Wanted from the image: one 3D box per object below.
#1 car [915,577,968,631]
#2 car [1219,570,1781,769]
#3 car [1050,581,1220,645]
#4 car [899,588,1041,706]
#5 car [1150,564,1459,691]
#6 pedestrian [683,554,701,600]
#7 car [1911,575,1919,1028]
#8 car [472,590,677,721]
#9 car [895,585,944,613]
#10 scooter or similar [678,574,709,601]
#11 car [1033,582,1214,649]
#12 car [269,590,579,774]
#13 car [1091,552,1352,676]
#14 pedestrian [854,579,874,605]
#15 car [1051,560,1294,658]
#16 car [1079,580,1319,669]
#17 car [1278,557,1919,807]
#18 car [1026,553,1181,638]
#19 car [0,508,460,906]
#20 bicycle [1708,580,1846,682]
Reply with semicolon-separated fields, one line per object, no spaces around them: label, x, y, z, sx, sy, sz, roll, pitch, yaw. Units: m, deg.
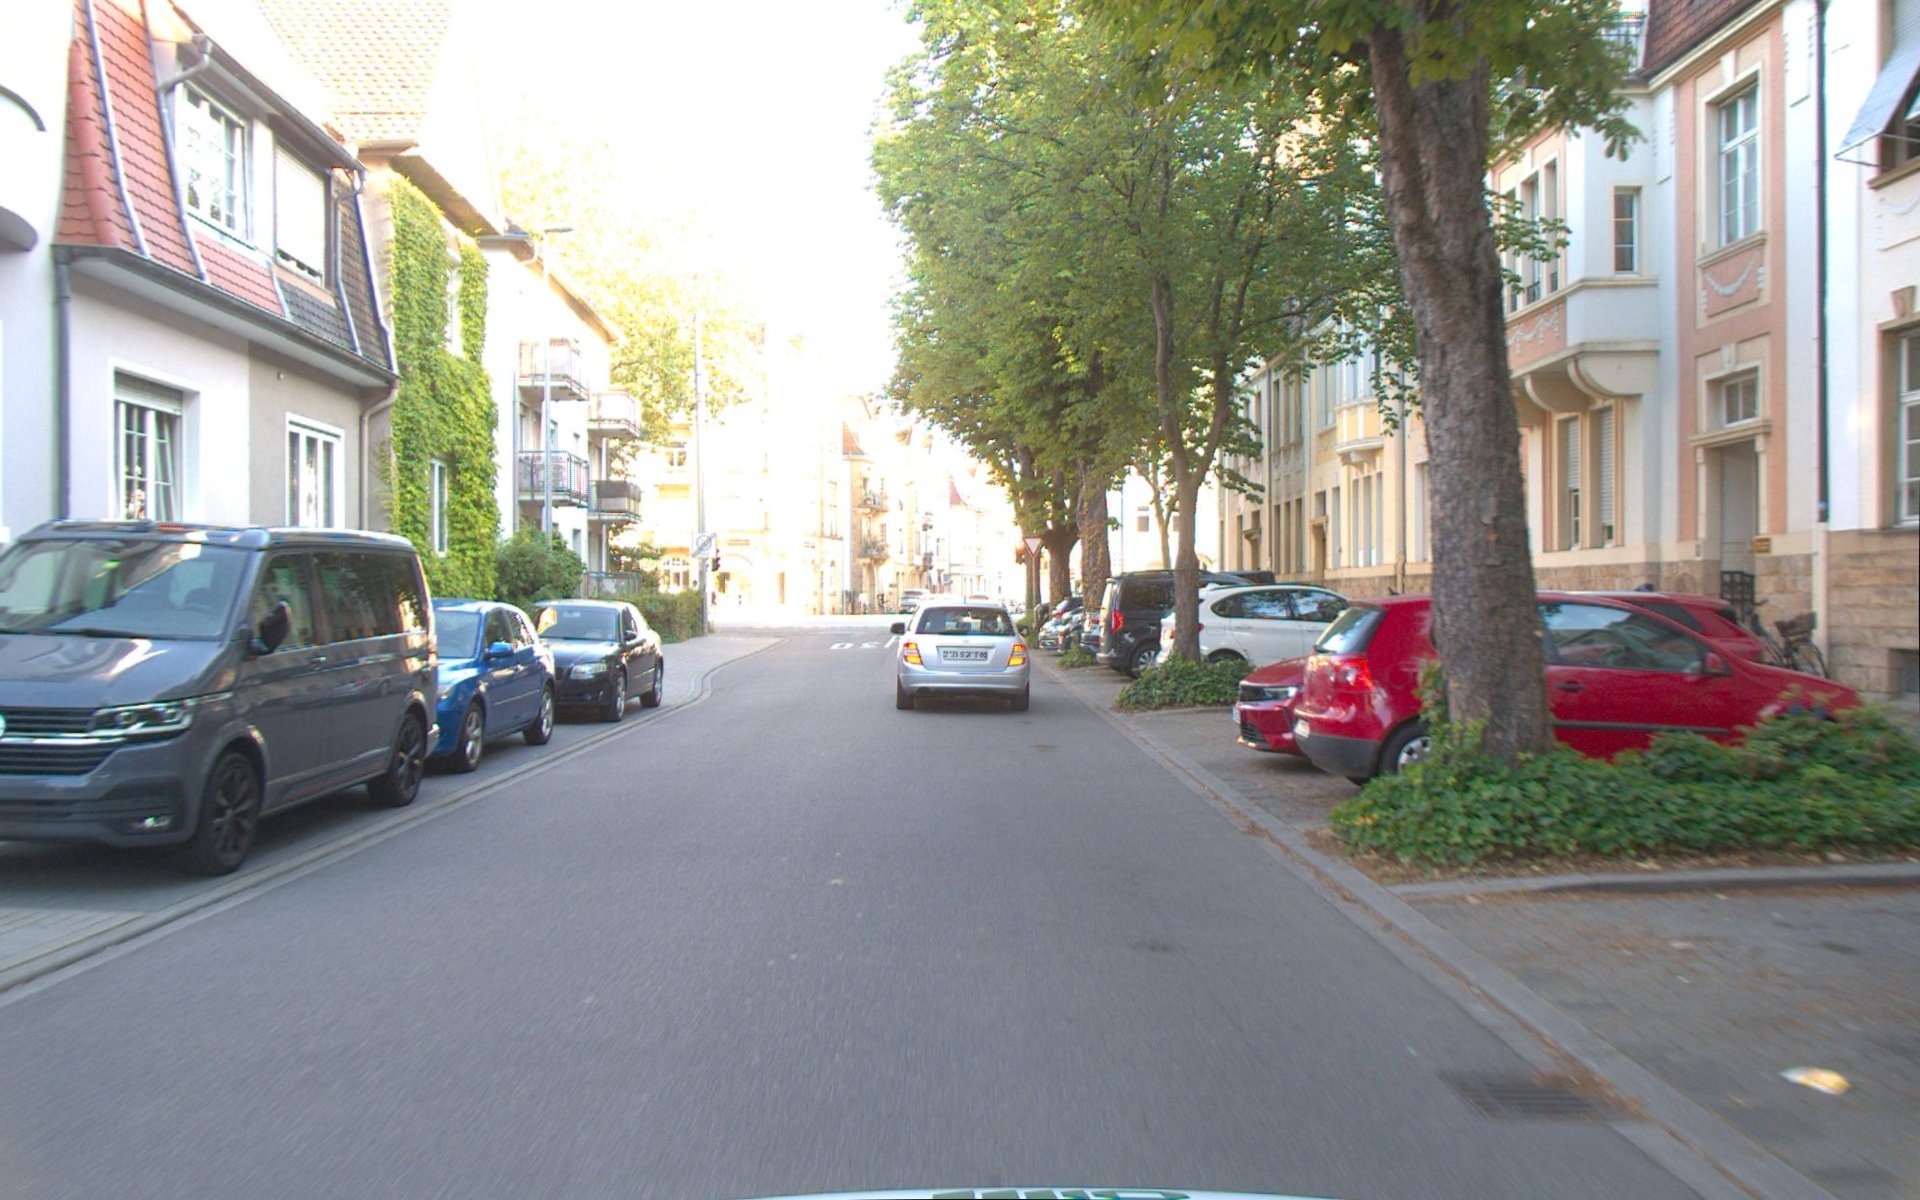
car;-0.548;0.098;52.170;1.590;1.597;3.680;-1;1;0
car;4.595;0.567;14.593;4.320;1.443;1.877;-3;0;2
car;4.546;0.325;43.355;4.202;1.567;1.898;-1;1;-3
car;0.124;0.576;22.424;1.747;1.462;3.850;0;0;0
car;4.907;0.377;23.966;4.027;1.598;1.877;-2;0;-1
pedestrian;-11.080;-0.954;68.477;0.630;1.898;0.409;-2;1;-4
car;5.026;0.656;4.723;3.714;1.509;1.561;-1;0;1
car;-4.885;0.640;21.521;1.660;1.472;4.357;0;1;0
car;-2.479;-0.082;101.348;1.951;1.612;4.003;0;1;15
scooter or similar;-11.032;-0.529;68.486;1.152;1.070;0.409;-2;1;-5
car;3.990;0.367;40.851;4.202;1.442;1.876;-2;1;-3
car;-4.976;0.677;15.979;1.620;1.472;4.237;1;1;0
car;4.464;0.220;28.673;4.135;1.929;1.905;-2;1;-3
pedestrian;-6.510;-0.541;111.764;1.195;1.751;1.504;0;1;2
car;4.544;0.161;35.932;4.952;2.023;2.071;-1;1;-3
car;4.438;0.440;31.131;4.202;1.567;1.876;-1;1;-3
car;4.561;0.547;12.080;4.103;1.501;1.852;-3;0;2
car;4.189;-0.161;48.767;4.301;2.405;1.999;-1;1;-3
car;-4.888;0.490;10.659;1.942;1.981;4.850;0;1;-1
bicycle;9.197;0.320;18.699;0.464;1.075;2.045;-3;1;-1
